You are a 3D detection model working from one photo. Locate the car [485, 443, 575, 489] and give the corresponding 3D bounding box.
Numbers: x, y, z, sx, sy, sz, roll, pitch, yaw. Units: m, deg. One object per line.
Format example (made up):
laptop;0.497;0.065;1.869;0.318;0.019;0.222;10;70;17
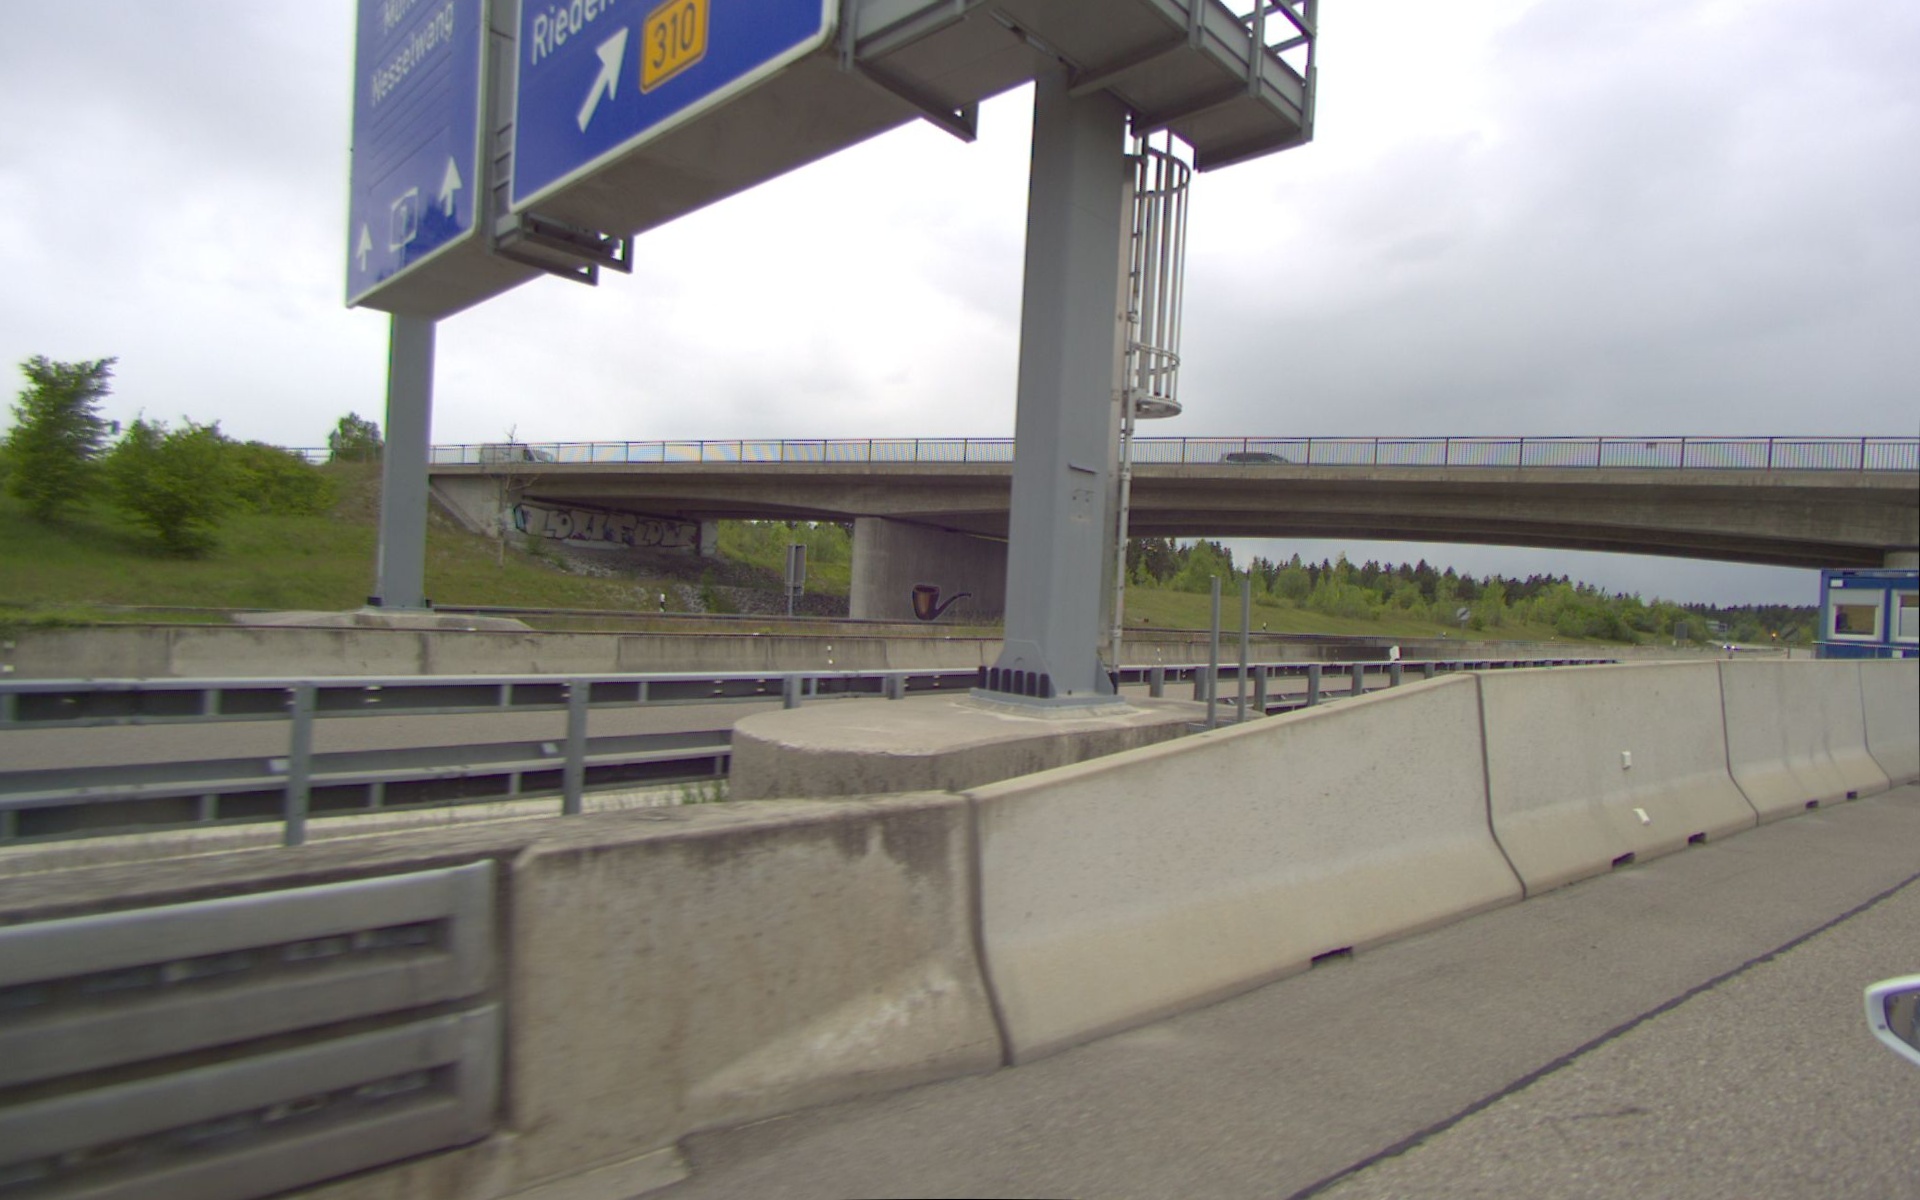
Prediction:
car;-27.664;-8.593;64.587;5.642;2.281;1.999;-1;-2;24
